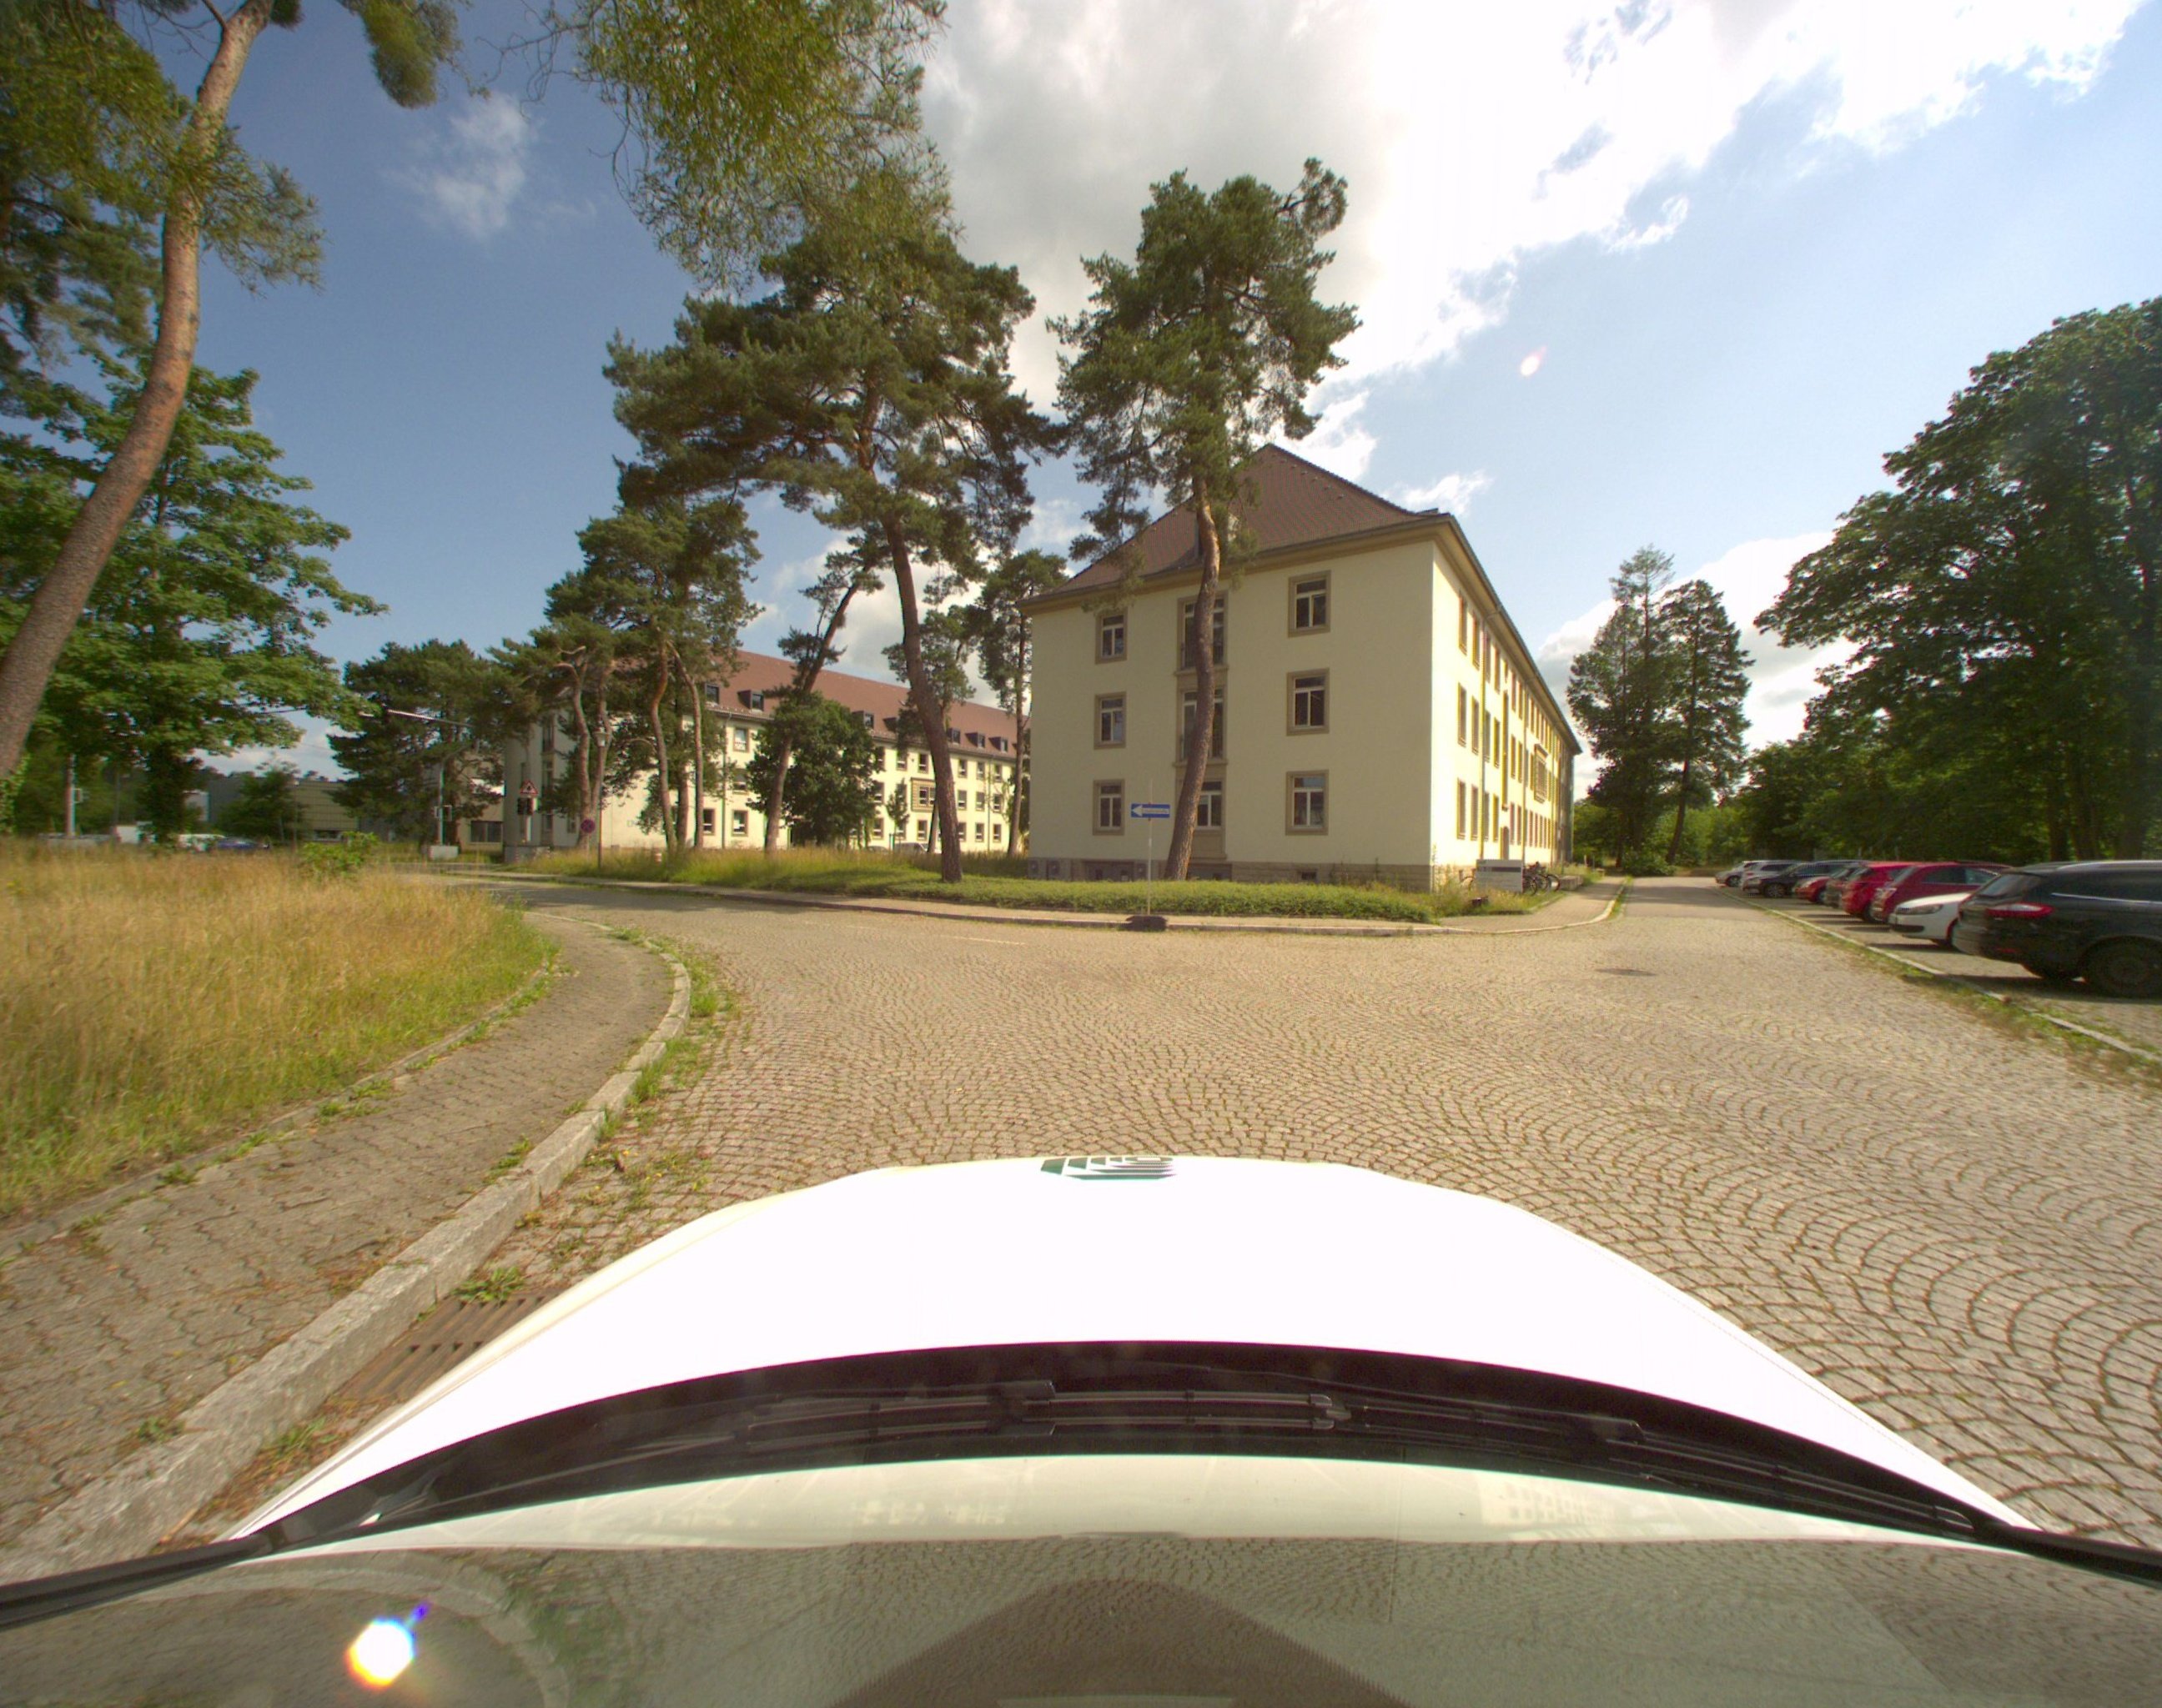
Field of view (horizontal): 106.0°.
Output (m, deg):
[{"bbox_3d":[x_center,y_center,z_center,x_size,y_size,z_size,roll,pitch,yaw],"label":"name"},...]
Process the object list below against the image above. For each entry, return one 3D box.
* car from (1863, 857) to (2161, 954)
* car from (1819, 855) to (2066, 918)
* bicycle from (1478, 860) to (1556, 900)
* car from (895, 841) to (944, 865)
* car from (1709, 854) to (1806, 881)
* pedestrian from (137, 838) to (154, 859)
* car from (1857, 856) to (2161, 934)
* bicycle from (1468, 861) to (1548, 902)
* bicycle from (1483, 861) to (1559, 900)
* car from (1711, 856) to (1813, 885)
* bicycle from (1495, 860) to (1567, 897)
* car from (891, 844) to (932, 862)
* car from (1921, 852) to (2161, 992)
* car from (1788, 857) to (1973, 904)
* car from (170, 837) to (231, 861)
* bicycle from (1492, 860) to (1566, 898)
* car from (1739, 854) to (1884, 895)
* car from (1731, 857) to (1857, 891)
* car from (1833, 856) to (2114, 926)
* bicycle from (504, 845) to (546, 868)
[{"bbox_3d":[16.307,0.807,13.632,4.356,1.484,1.777,-1,-1,33],"label":"car"},{"bbox_3d":[22.202,0.810,21.278,4.146,1.484,1.831,-1,-1,36],"label":"car"},{"bbox_3d":[14.432,0.855,26.986,2.200,1.260,0.627,0,0,37],"label":"bicycle"},{"bbox_3d":[-13.586,-0.081,68.473,4.020,1.991,1.724,0,0,35],"label":"car"},{"bbox_3d":[38.725,0.779,46.767,4.146,1.484,1.831,-1,-1,36],"label":"car"},{"bbox_3d":[-88.454,-0.493,77.005,1.041,2.014,0.974,0,0,43],"label":"pedestrian"},{"bbox_3d":[19.511,0.813,17.292,4.166,1.484,1.831,-1,-1,36],"label":"car"},{"bbox_3d":[13.822,0.865,26.418,2.201,1.260,0.627,0,0,41],"label":"bicycle"},{"bbox_3d":[14.981,0.874,27.746,2.201,1.260,0.627,0,0,41],"label":"bicycle"},{"bbox_3d":[36.956,0.898,44.350,4.146,1.484,1.831,-1,-1,36],"label":"car"},{"bbox_3d":[16.145,0.869,29.230,2.200,1.260,0.627,0,0,37],"label":"bicycle"},{"bbox_3d":[-13.681,-0.085,65.598,3.252,1.343,1.434,0,0,35],"label":"car"},{"bbox_3d":[13.238,0.749,9.258,4.805,1.553,1.891,-1,-1,33],"label":"car"},{"bbox_3d":[26.898,0.866,27.622,4.225,1.484,1.831,-1,-1,36],"label":"car"},{"bbox_3d":[-79.849,-0.447,73.944,1.709,2.088,3.714,0,0,44],"label":"car"},{"bbox_3d":[15.587,0.864,28.381,2.200,1.260,0.627,0,0,37],"label":"bicycle"},{"bbox_3d":[29.142,0.815,32.679,4.146,1.543,1.831,-1,-1,36],"label":"car"},{"bbox_3d":[32.263,0.908,37.043,4.146,1.484,1.831,-1,-1,36],"label":"car"},{"bbox_3d":[20.603,0.819,19.100,4.146,1.484,1.771,-1,-1,36],"label":"car"},{"bbox_3d":[-26.631,0.133,38.999,1.595,1.100,0.485,1,0,-44],"label":"bicycle"}]
